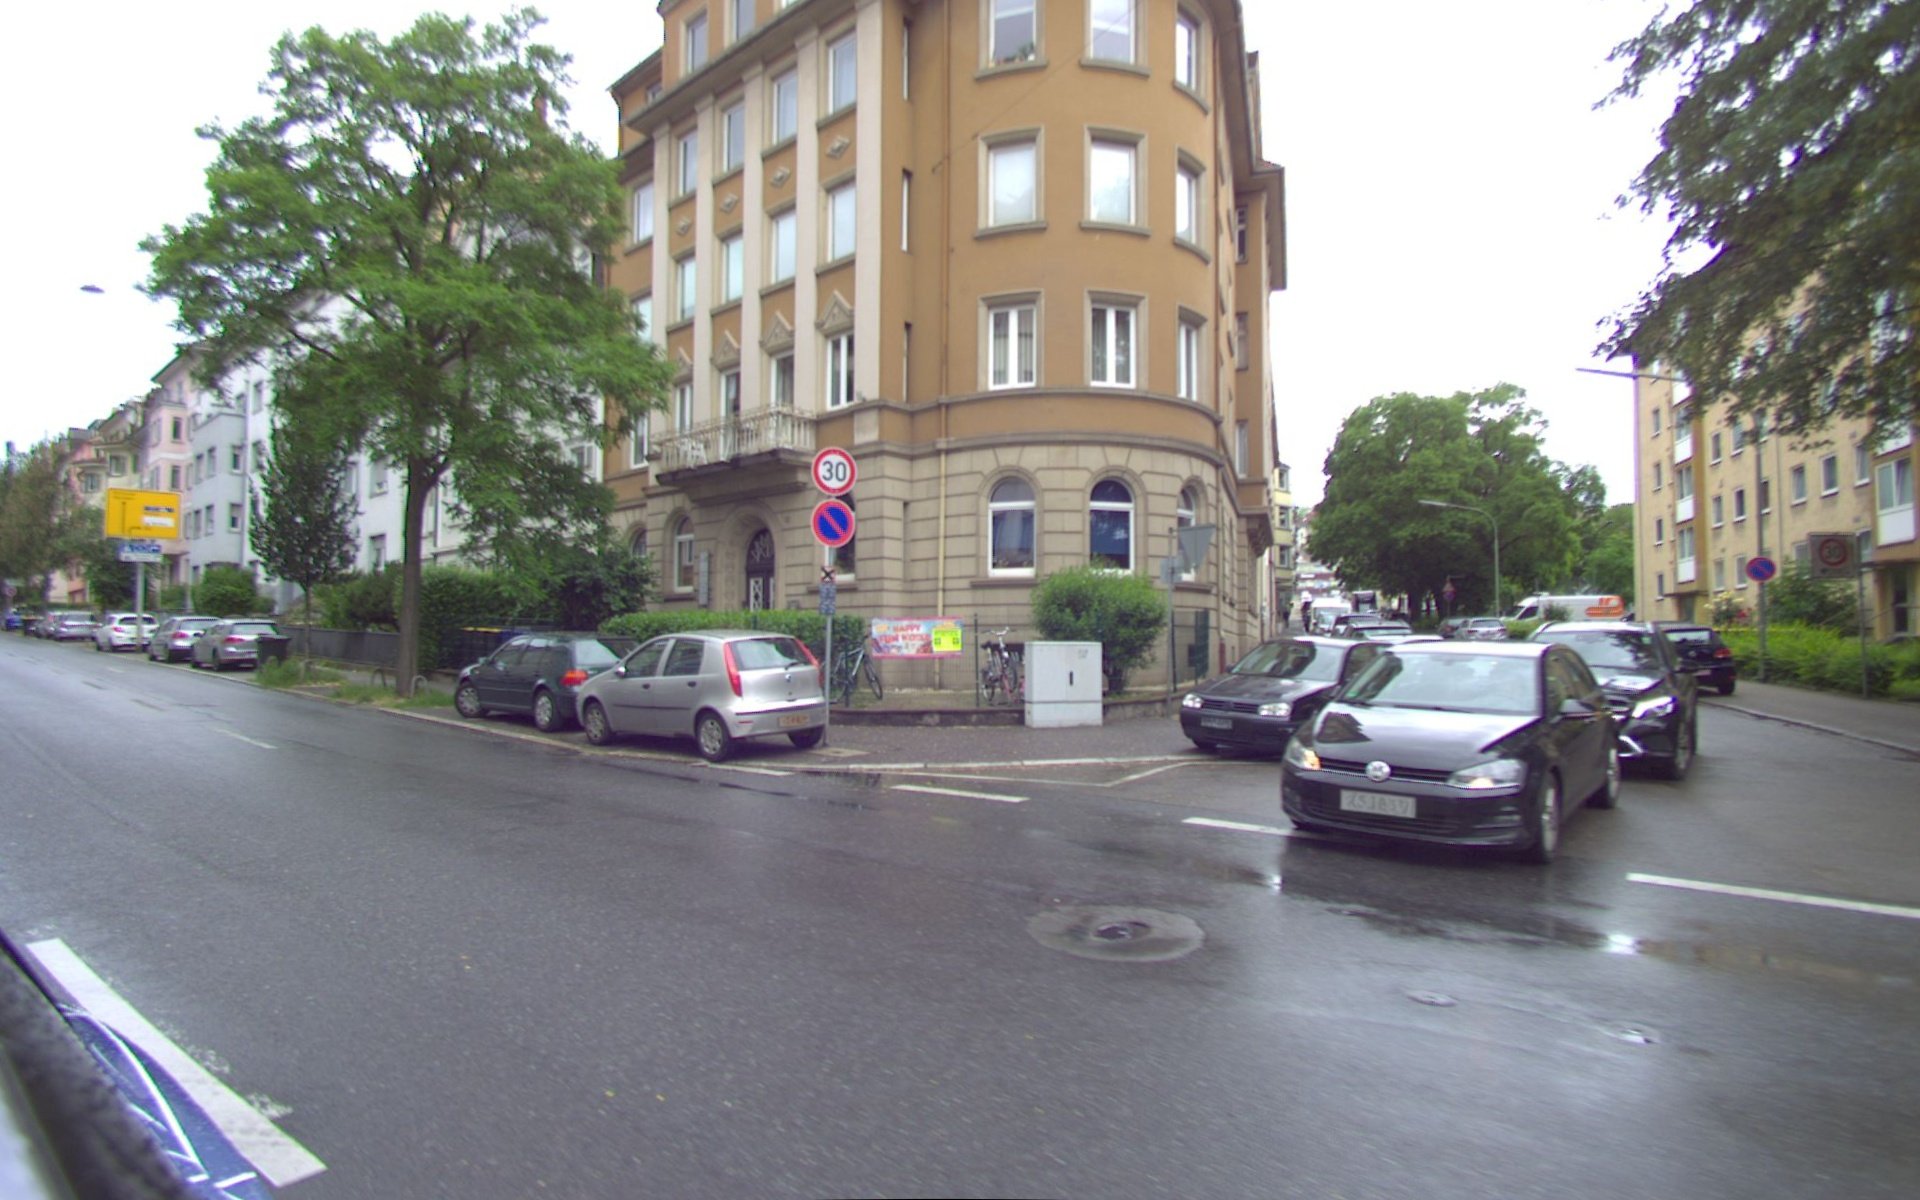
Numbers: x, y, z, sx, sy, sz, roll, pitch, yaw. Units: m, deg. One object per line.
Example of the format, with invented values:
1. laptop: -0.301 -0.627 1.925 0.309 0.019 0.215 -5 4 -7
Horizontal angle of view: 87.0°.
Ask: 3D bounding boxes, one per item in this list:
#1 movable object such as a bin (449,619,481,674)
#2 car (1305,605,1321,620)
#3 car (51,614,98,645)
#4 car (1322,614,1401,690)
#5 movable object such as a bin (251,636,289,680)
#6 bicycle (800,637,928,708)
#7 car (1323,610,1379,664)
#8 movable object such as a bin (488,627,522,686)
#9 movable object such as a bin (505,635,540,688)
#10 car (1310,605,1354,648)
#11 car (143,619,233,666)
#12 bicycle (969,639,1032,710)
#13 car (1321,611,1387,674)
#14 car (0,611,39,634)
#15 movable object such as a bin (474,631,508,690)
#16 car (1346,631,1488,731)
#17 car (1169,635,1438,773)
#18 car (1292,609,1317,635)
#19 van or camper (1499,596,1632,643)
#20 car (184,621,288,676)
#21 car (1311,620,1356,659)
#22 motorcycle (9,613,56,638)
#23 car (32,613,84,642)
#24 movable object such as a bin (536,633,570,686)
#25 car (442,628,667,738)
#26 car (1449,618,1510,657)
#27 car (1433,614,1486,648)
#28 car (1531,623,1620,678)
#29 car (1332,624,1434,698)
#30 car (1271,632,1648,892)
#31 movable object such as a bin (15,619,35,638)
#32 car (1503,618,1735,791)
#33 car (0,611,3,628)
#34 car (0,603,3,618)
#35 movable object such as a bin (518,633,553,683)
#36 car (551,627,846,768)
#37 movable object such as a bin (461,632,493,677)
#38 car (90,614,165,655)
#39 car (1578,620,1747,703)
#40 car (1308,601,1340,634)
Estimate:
1. movable object such as a bin: -12.015 1.111 24.559 0.649 1.309 0.435 -1 -3 41
2. car: 41.658 1.409 119.378 1.765 1.635 3.815 0 1 19
3. car: -44.330 1.427 50.619 1.582 1.462 3.890 0 -1 -44
4. car: 10.770 1.312 27.226 1.836 1.741 3.972 0 1 21
5. movable object such as a bin: -17.315 1.457 25.392 0.600 1.066 0.623 1 -2 42
6. bicycle: -1.517 1.151 16.487 0.804 1.054 2.323 0 -2 33
7. car: 14.361 1.302 37.234 1.836 1.741 3.972 0 1 21
8. movable object such as a bin: -10.281 1.266 22.871 0.609 1.318 0.435 -1 -3 41
9. movable object such as a bin: -9.680 1.362 22.393 0.657 1.139 0.435 -1 -3 41
10. car: 19.083 1.323 52.013 1.984 2.029 3.975 0 1 19
11. car: -25.082 1.348 32.844 3.909 1.401 1.664 0 -1 43
12. bicycle: 0.643 1.111 15.406 0.797 1.019 1.700 0 -3 8
13. car: 12.447 1.278 32.046 1.836 1.741 3.972 0 1 21
14. car: -63.202 1.519 67.875 4.602 1.396 1.661 1 -2 42
15. movable object such as a bin: -10.806 1.381 23.322 0.649 1.318 0.435 -1 -3 41
16. car: 7.723 1.283 17.454 1.696 1.431 4.209 0 -1 17
17. car: 4.432 1.195 12.753 1.743 1.400 3.772 1 -1 44
18. car: 29.736 1.854 87.403 1.984 2.029 3.975 0 1 19
19. van or camper: 35.703 1.093 59.833 6.292 2.653 2.282 0 1 12
20. car: -20.736 1.339 28.941 3.936 1.401 1.664 0 -1 43
21. car: 17.007 1.757 46.210 1.789 1.519 3.588 0 1 18
22. motorcycle: -51.995 1.439 56.758 1.783 1.325 0.743 2 -2 -6
23. car: -48.099 1.442 53.949 3.886 1.407 1.584 1 -1 42
24. movable object such as a bin: -8.617 1.244 21.420 0.589 1.089 0.435 -1 -3 41
25. car: -6.452 1.212 15.924 3.940 1.465 1.637 0 -2 41
26. car: 23.182 1.650 45.270 1.788 1.519 3.590 0 1 17
27. car: 25.464 1.561 51.714 1.788 1.519 3.590 0 1 16
28. car: 16.723 1.351 27.647 1.486 1.230 3.341 -2 1 22
29. car: 9.314 1.282 22.543 1.696 1.451 3.816 0 -1 17
30. car: 4.059 1.007 7.903 1.742 1.400 3.776 1 0 41
31. movable object such as a bin: -53.980 1.647 58.440 0.483 1.066 0.816 1 1 43
32. car: 7.636 1.060 11.573 1.693 1.594 3.769 1 -1 41
33. car: -84.411 1.654 87.791 4.137 1.428 1.663 0 -3 43
34. car: -119.366 1.335 123.202 1.866 1.860 3.880 1 2 40
35. movable object such as a bin: -9.185 1.256 21.886 0.650 1.048 0.421 -1 -3 41
36. car: -3.379 1.105 12.774 3.835 1.465 1.616 0 -2 39
37. movable object such as a bin: -11.405 1.280 23.892 0.649 1.047 0.435 -1 -3 41
38. car: -32.739 1.333 39.753 3.794 1.519 1.629 0 -2 41
39. car: 15.370 1.289 22.361 1.670 1.519 3.598 -2 1 11
40. car: 24.338 1.123 67.758 1.984 2.029 3.975 0 1 19
